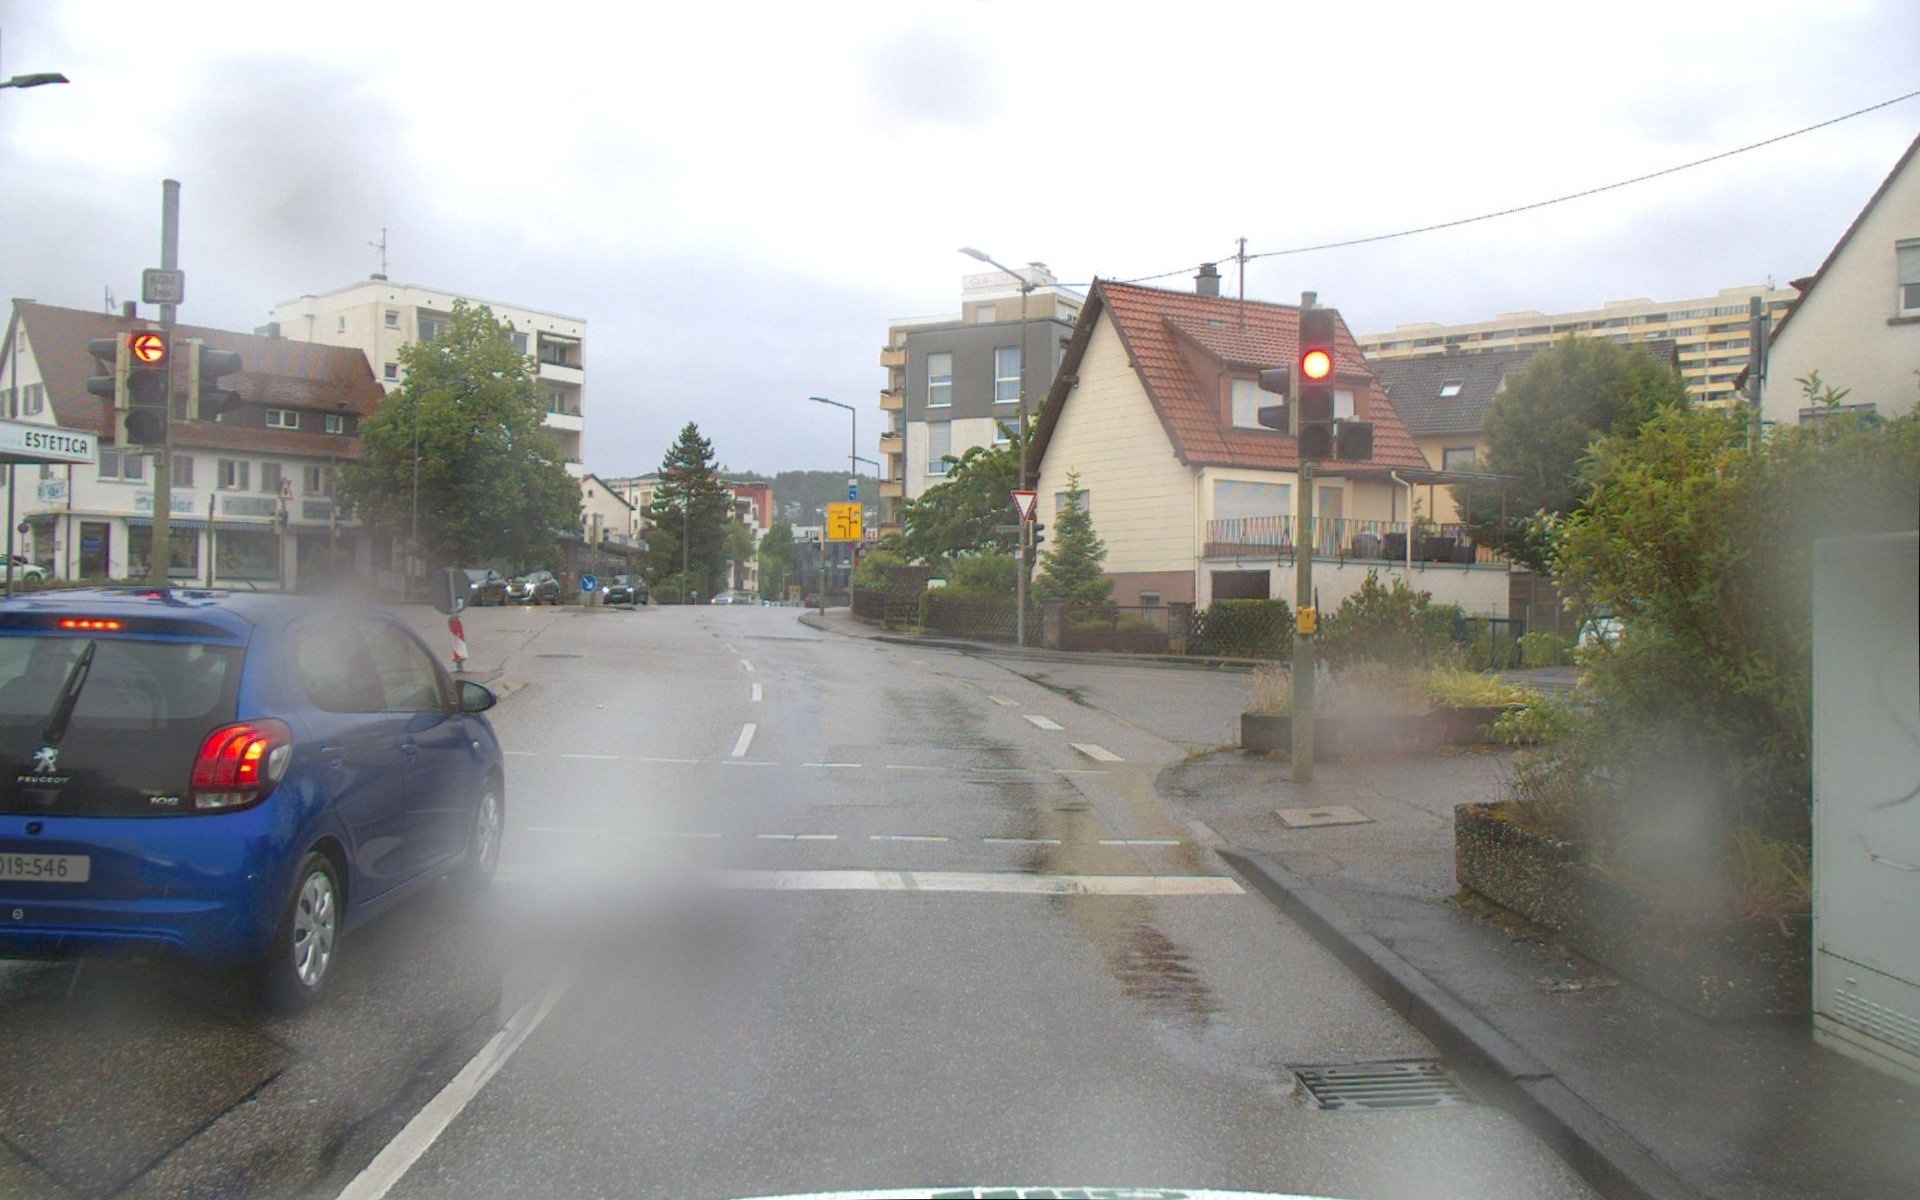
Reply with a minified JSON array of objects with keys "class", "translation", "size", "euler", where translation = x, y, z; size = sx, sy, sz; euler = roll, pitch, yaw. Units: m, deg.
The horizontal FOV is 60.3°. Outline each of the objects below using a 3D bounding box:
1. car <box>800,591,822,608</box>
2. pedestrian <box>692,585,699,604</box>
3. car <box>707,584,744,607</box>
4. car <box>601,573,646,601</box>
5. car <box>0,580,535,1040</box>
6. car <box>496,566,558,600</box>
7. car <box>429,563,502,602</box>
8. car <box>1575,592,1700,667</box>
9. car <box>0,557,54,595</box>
[{"class":"car","translation":[-14.077,-0.060,156.781],"size":[1.776,1.512,4.188],"euler":[0,1,-1]},{"class":"pedestrian","translation":[-23.386,-0.476,146.136],"size":[0.486,1.687,0.434],"euler":[1,0,9]},{"class":"car","translation":[-20.060,-0.409,141.743],"size":[1.718,1.847,3.864],"euler":[1,1,16]},{"class":"car","translation":[-18.097,-0.695,89.068],"size":[1.743,1.445,3.830],"euler":[1,1,-2]},{"class":"car","translation":[-2.960,0.655,6.913],"size":[1.547,1.435,3.269],"euler":[1,1,-1]},{"class":"car","translation":[-18.691,-0.748,71.537],"size":[1.680,1.411,4.019],"euler":[1,1,-2]},{"class":"car","translation":[-19.165,-0.689,64.260],"size":[1.743,1.445,3.830],"euler":[1,1,-2]},{"class":"car","translation":[15.132,0.608,36.841],"size":[1.710,1.541,3.986],"euler":[1,1,35]},{"class":"car","translation":[-41.566,-1.067,71.455],"size":[1.841,1.599,3.939],"euler":[2,1,44]}]
